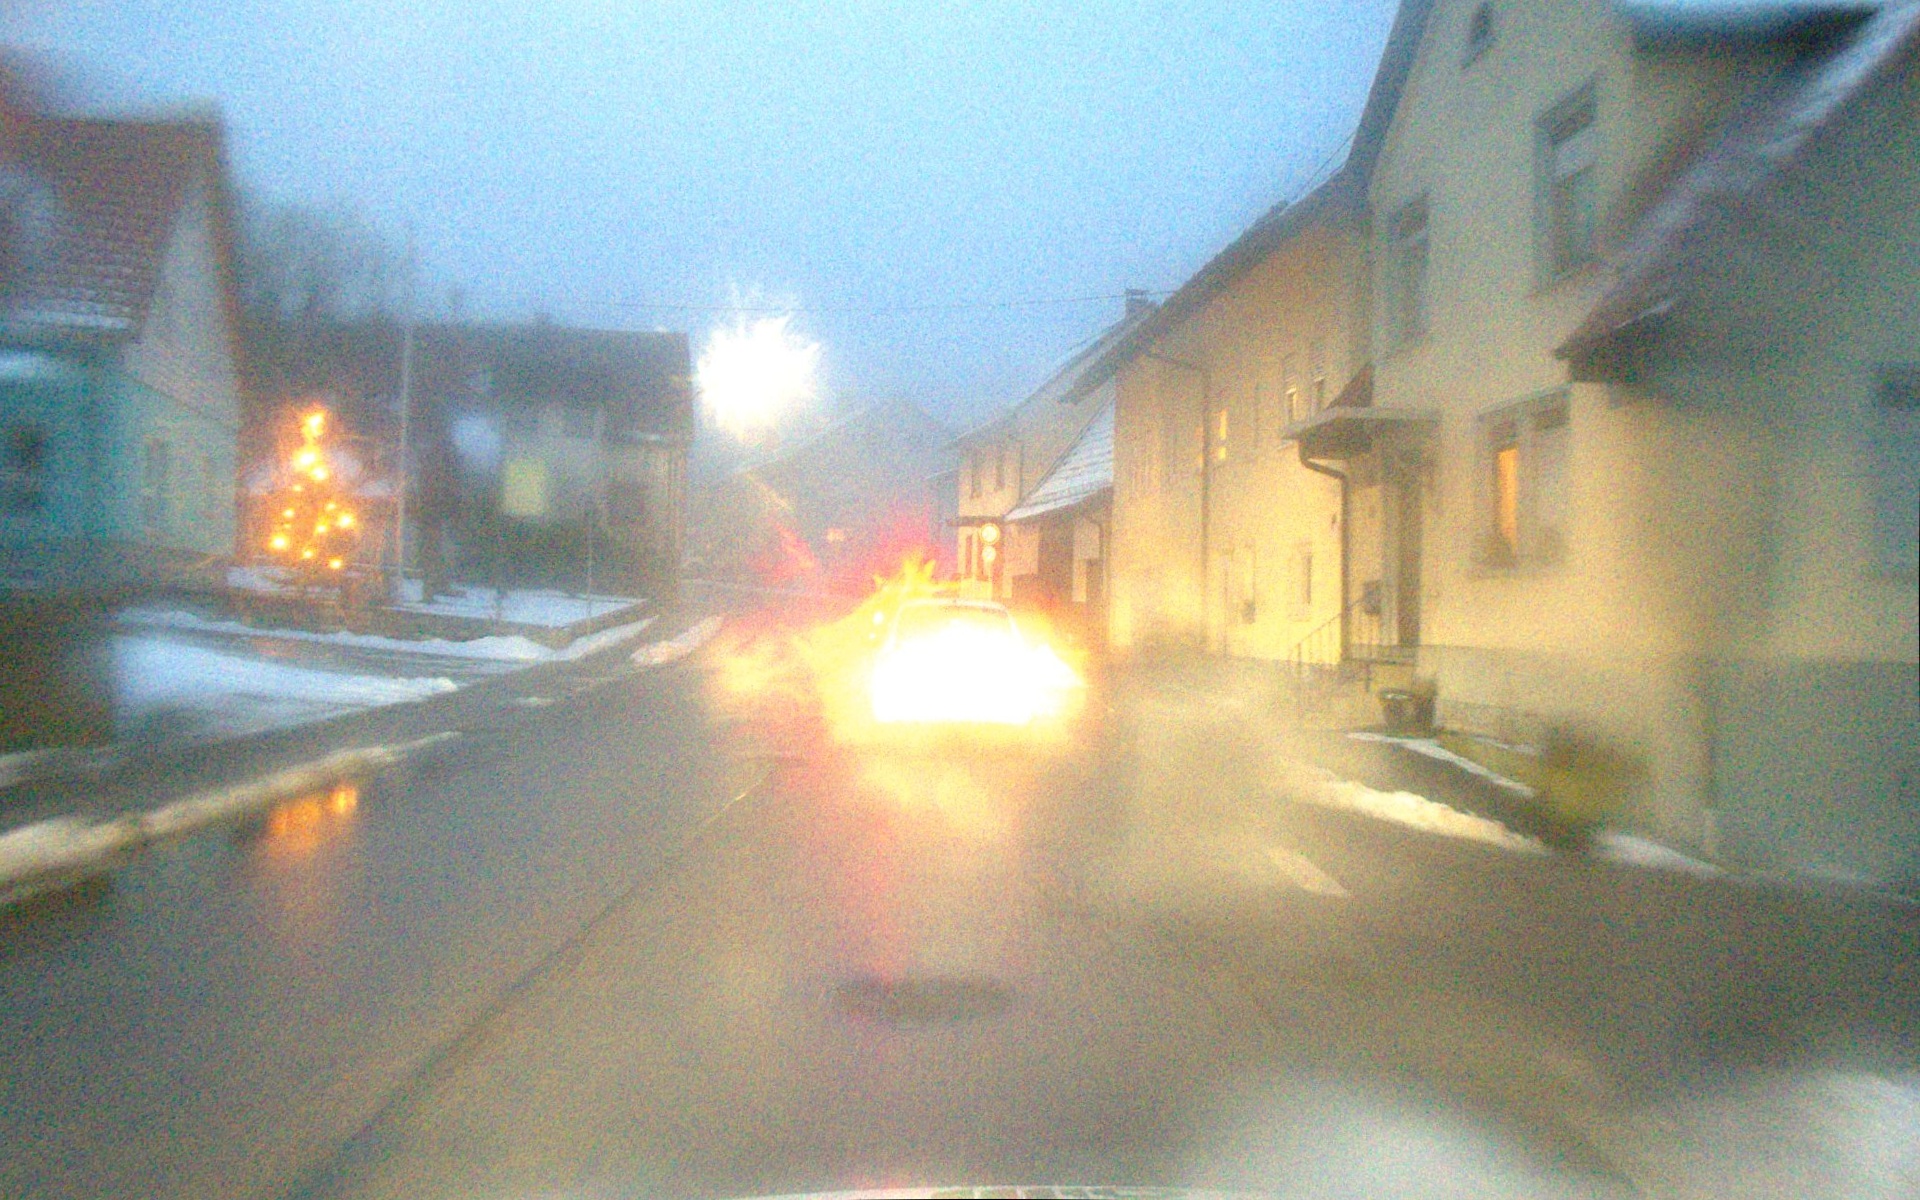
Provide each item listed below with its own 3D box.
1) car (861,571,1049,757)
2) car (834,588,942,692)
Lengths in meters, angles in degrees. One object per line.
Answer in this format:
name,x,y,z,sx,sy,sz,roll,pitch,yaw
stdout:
car,-0.151,0.608,16.953,1.613,1.624,3.696,3,-1,-4
car,-1.305,0.672,28.722,1.613,1.624,3.695,3,-1,-5
